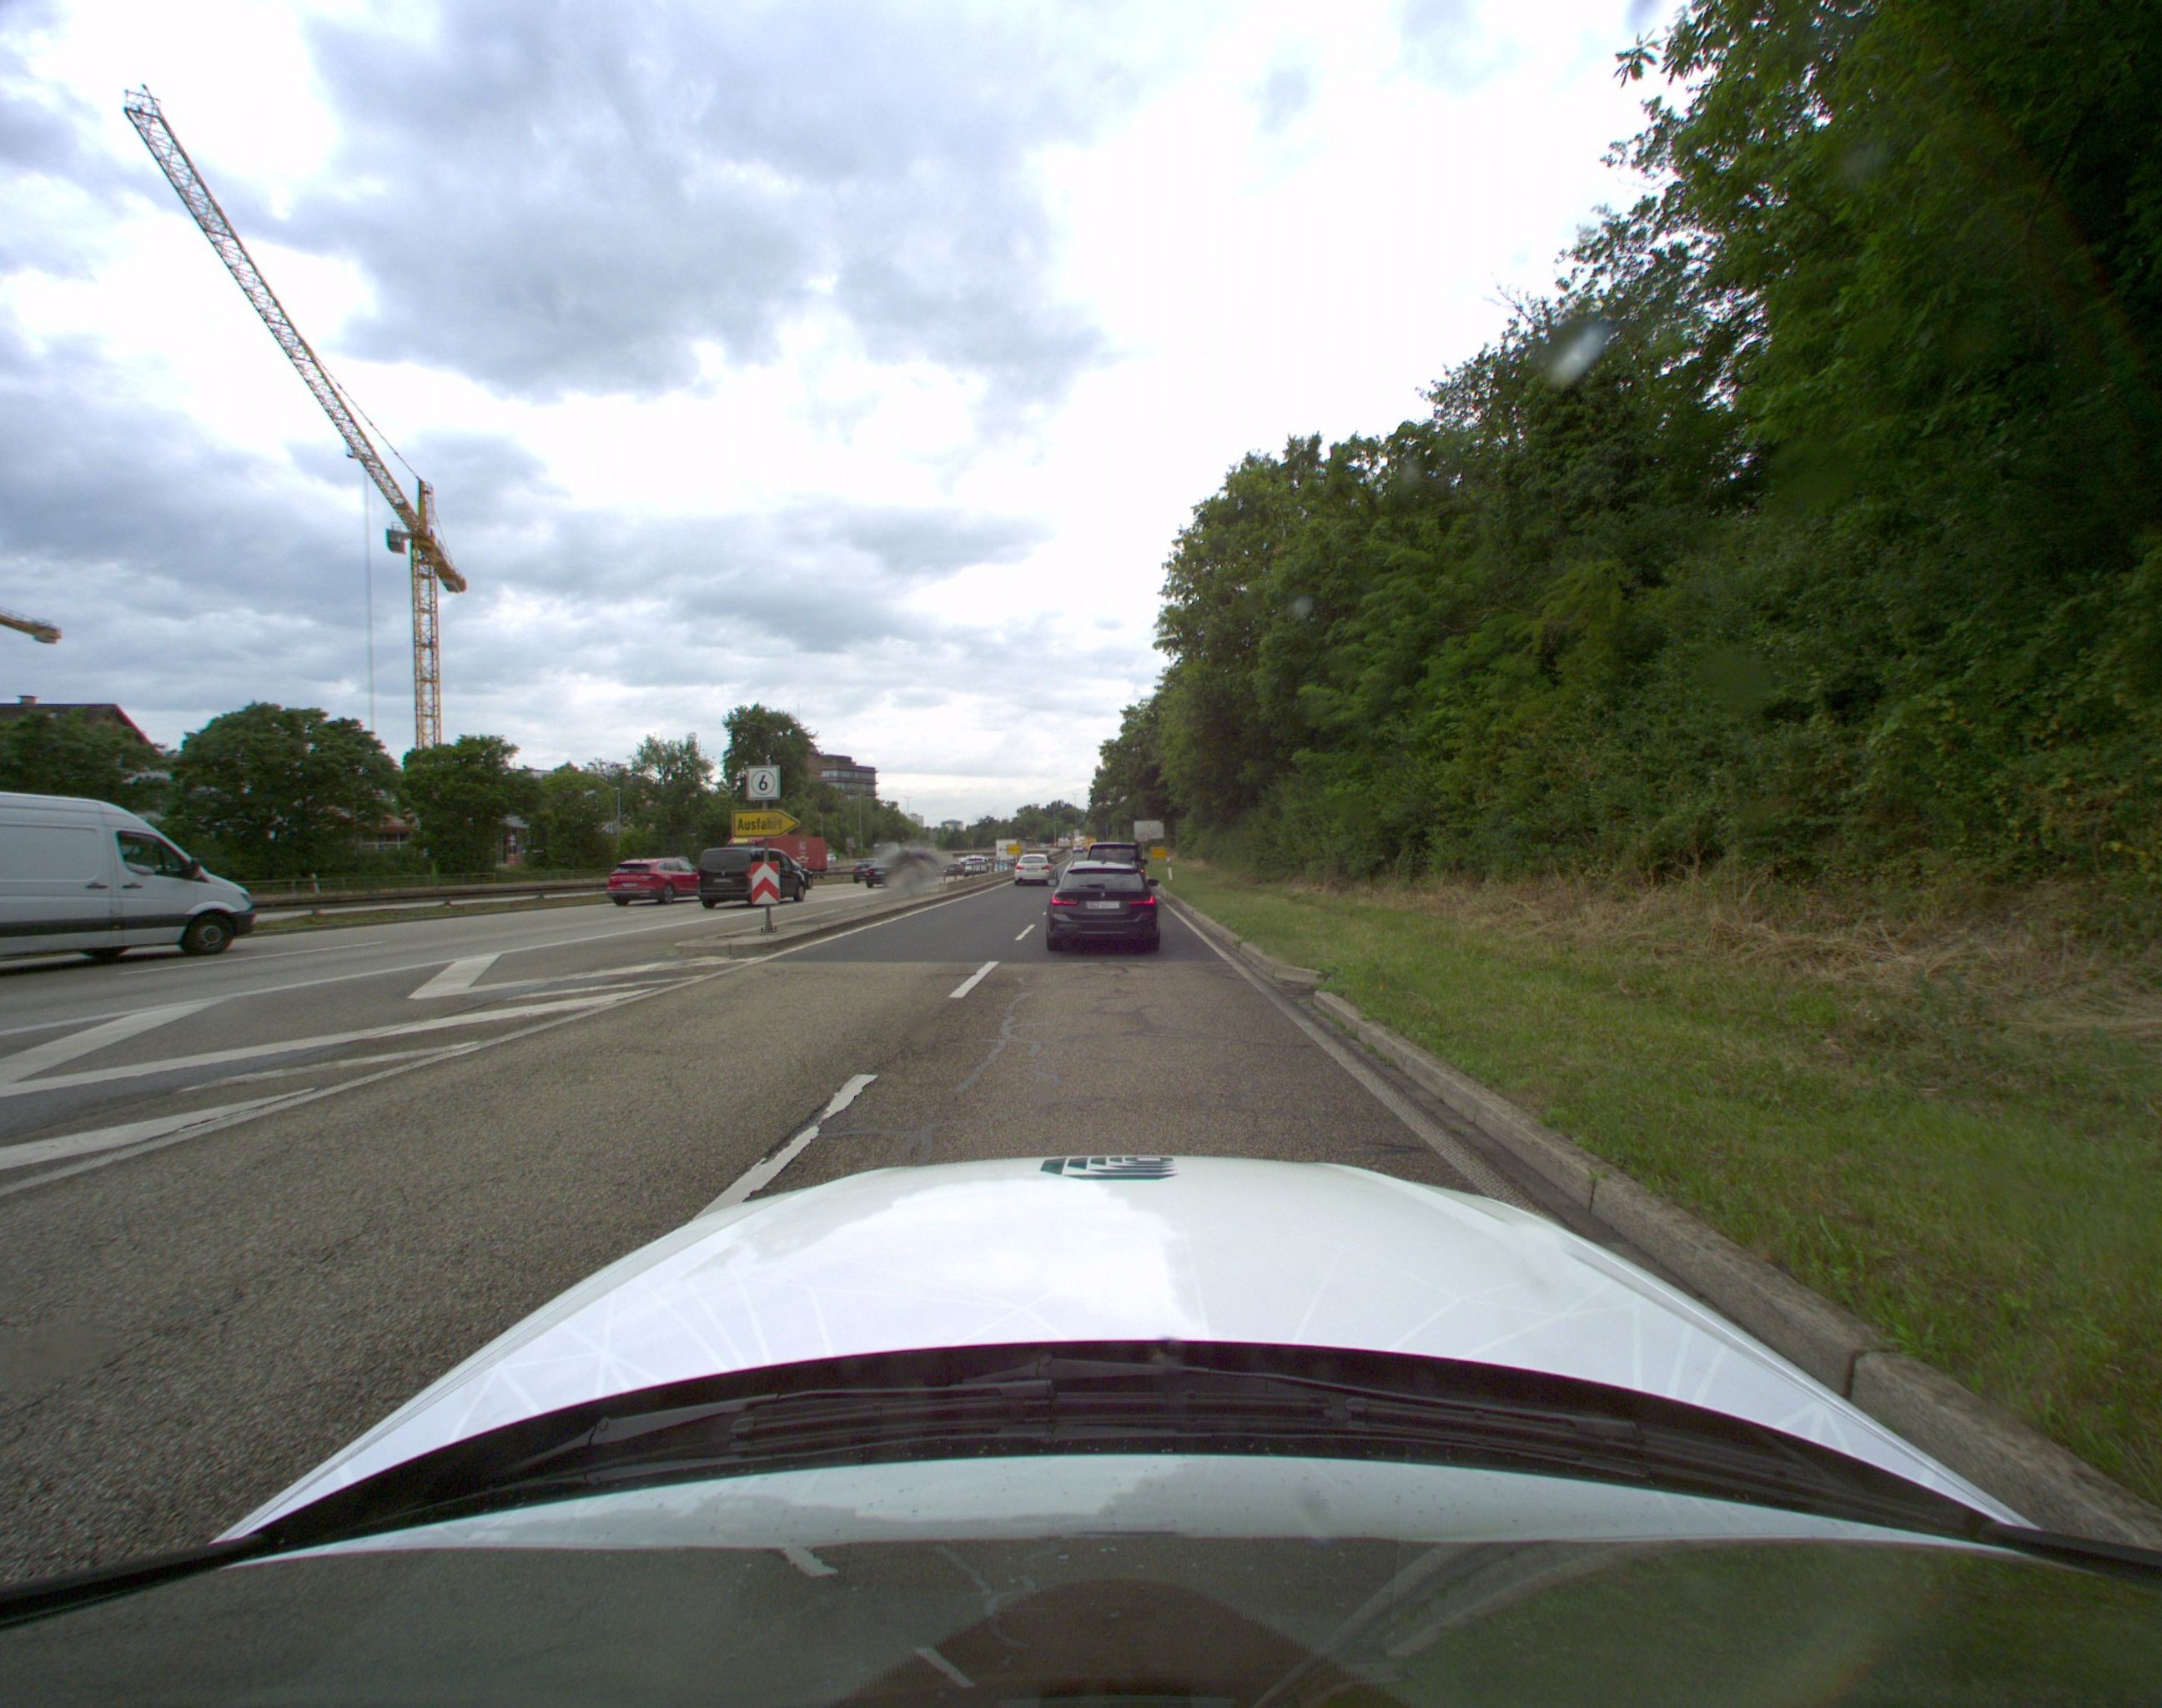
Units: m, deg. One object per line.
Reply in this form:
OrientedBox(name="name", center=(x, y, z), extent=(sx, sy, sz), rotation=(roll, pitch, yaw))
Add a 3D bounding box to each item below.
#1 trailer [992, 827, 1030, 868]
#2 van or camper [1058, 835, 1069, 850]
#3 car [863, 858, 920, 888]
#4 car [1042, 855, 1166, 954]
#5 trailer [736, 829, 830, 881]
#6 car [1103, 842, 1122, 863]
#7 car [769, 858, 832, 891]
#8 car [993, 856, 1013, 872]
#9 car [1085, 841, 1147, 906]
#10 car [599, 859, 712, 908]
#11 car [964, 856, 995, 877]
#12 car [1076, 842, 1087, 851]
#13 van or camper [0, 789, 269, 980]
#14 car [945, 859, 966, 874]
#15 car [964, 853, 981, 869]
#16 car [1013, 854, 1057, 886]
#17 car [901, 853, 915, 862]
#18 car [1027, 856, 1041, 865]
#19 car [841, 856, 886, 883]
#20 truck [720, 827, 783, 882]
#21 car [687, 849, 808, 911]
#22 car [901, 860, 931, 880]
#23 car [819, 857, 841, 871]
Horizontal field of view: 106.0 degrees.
OrientedBox(name="trailer", center=(-8.579, -0.771, 101.751), extent=(3.121, 4.725, 14.563), rotation=(0, 0, 2))
OrientedBox(name="van or camper", center=(-3.398, -2.236, 160.291), extent=(1.987, 2.821, 3.999), rotation=(-1, 0, 0))
OrientedBox(name="car", center=(-10.070, 0.989, 43.591), extent=(1.706, 1.457, 4.669), rotation=(-1, 0, 3))
OrientedBox(name="car", center=(0.357, 0.748, 14.121), extent=(1.840, 1.467, 4.000), rotation=(0, 0, 0))
OrientedBox(name="trailer", center=(-25.518, 0.049, 70.805), extent=(2.754, 4.064, 13.359), rotation=(-1, 0, 2))
OrientedBox(name="car", center=(2.510, -0.114, 65.271), extent=(1.447, 1.540, 3.226), rotation=(-1, 0, 2))
OrientedBox(name="car", center=(-15.008, 1.052, 43.773), extent=(1.745, 1.635, 4.269), rotation=(-1, 0, 2))
OrientedBox(name="car", center=(-8.298, 1.059, 86.718), extent=(1.762, 1.549, 3.493), rotation=(-1, 0, 1))
OrientedBox(name="car", center=(1.092, 0.557, 25.654), extent=(1.789, 1.872, 4.002), rotation=(-1, 0, 2))
OrientedBox(name="car", center=(-15.043, 1.007, 29.055), extent=(1.759, 1.567, 3.948), rotation=(-1, 0, 3))
OrientedBox(name="car", center=(-8.808, 1.028, 70.987), extent=(1.938, 1.692, 4.509), rotation=(-1, 0, 2))
OrientedBox(name="car", center=(0.110, -1.486, 159.049), extent=(1.923, 1.596, 3.880), rotation=(-1, 0, 3))
OrientedBox(name="van or camper", center=(-15.836, 0.439, 11.275), extent=(2.042, 2.621, 6.958), rotation=(-1, 0, 1))
OrientedBox(name="car", center=(-13.927, 1.347, 90.203), extent=(1.682, 1.632, 3.735), rotation=(0, 0, 1))
OrientedBox(name="car", center=(-13.684, 0.855, 103.047), extent=(1.438, 2.044, 3.683), rotation=(-1, 0, 3))
OrientedBox(name="car", center=(-2.214, 0.766, 40.396), extent=(1.852, 1.464, 4.885), rotation=(0, 0, 1))
OrientedBox(name="car", center=(-33.726, 0.682, 158.909), extent=(1.649, 1.836, 3.624), rotation=(-1, 0, 2))
OrientedBox(name="car", center=(-11.832, 1.633, 203.377), extent=(3.198, 2.028, 5.066), rotation=(-1, 0, -5))
OrientedBox(name="car", center=(-15.003, 1.040, 56.364), extent=(1.884, 1.681, 4.307), rotation=(-1, 0, 1))
OrientedBox(name="truck", center=(-25.747, 0.060, 63.850), extent=(2.752, 4.064, 4.909), rotation=(-1, 0, 2))
OrientedBox(name="car", center=(-10.906, 0.787, 27.047), extent=(1.987, 1.851, 4.812), rotation=(-1, 0, 0))
OrientedBox(name="car", center=(-14.420, 1.395, 71.372), extent=(1.682, 1.608, 4.008), rotation=(0, 0, 1))
OrientedBox(name="car", center=(-33.345, 1.340, 108.250), extent=(1.678, 1.816, 3.430), rotation=(-1, 0, 2))
